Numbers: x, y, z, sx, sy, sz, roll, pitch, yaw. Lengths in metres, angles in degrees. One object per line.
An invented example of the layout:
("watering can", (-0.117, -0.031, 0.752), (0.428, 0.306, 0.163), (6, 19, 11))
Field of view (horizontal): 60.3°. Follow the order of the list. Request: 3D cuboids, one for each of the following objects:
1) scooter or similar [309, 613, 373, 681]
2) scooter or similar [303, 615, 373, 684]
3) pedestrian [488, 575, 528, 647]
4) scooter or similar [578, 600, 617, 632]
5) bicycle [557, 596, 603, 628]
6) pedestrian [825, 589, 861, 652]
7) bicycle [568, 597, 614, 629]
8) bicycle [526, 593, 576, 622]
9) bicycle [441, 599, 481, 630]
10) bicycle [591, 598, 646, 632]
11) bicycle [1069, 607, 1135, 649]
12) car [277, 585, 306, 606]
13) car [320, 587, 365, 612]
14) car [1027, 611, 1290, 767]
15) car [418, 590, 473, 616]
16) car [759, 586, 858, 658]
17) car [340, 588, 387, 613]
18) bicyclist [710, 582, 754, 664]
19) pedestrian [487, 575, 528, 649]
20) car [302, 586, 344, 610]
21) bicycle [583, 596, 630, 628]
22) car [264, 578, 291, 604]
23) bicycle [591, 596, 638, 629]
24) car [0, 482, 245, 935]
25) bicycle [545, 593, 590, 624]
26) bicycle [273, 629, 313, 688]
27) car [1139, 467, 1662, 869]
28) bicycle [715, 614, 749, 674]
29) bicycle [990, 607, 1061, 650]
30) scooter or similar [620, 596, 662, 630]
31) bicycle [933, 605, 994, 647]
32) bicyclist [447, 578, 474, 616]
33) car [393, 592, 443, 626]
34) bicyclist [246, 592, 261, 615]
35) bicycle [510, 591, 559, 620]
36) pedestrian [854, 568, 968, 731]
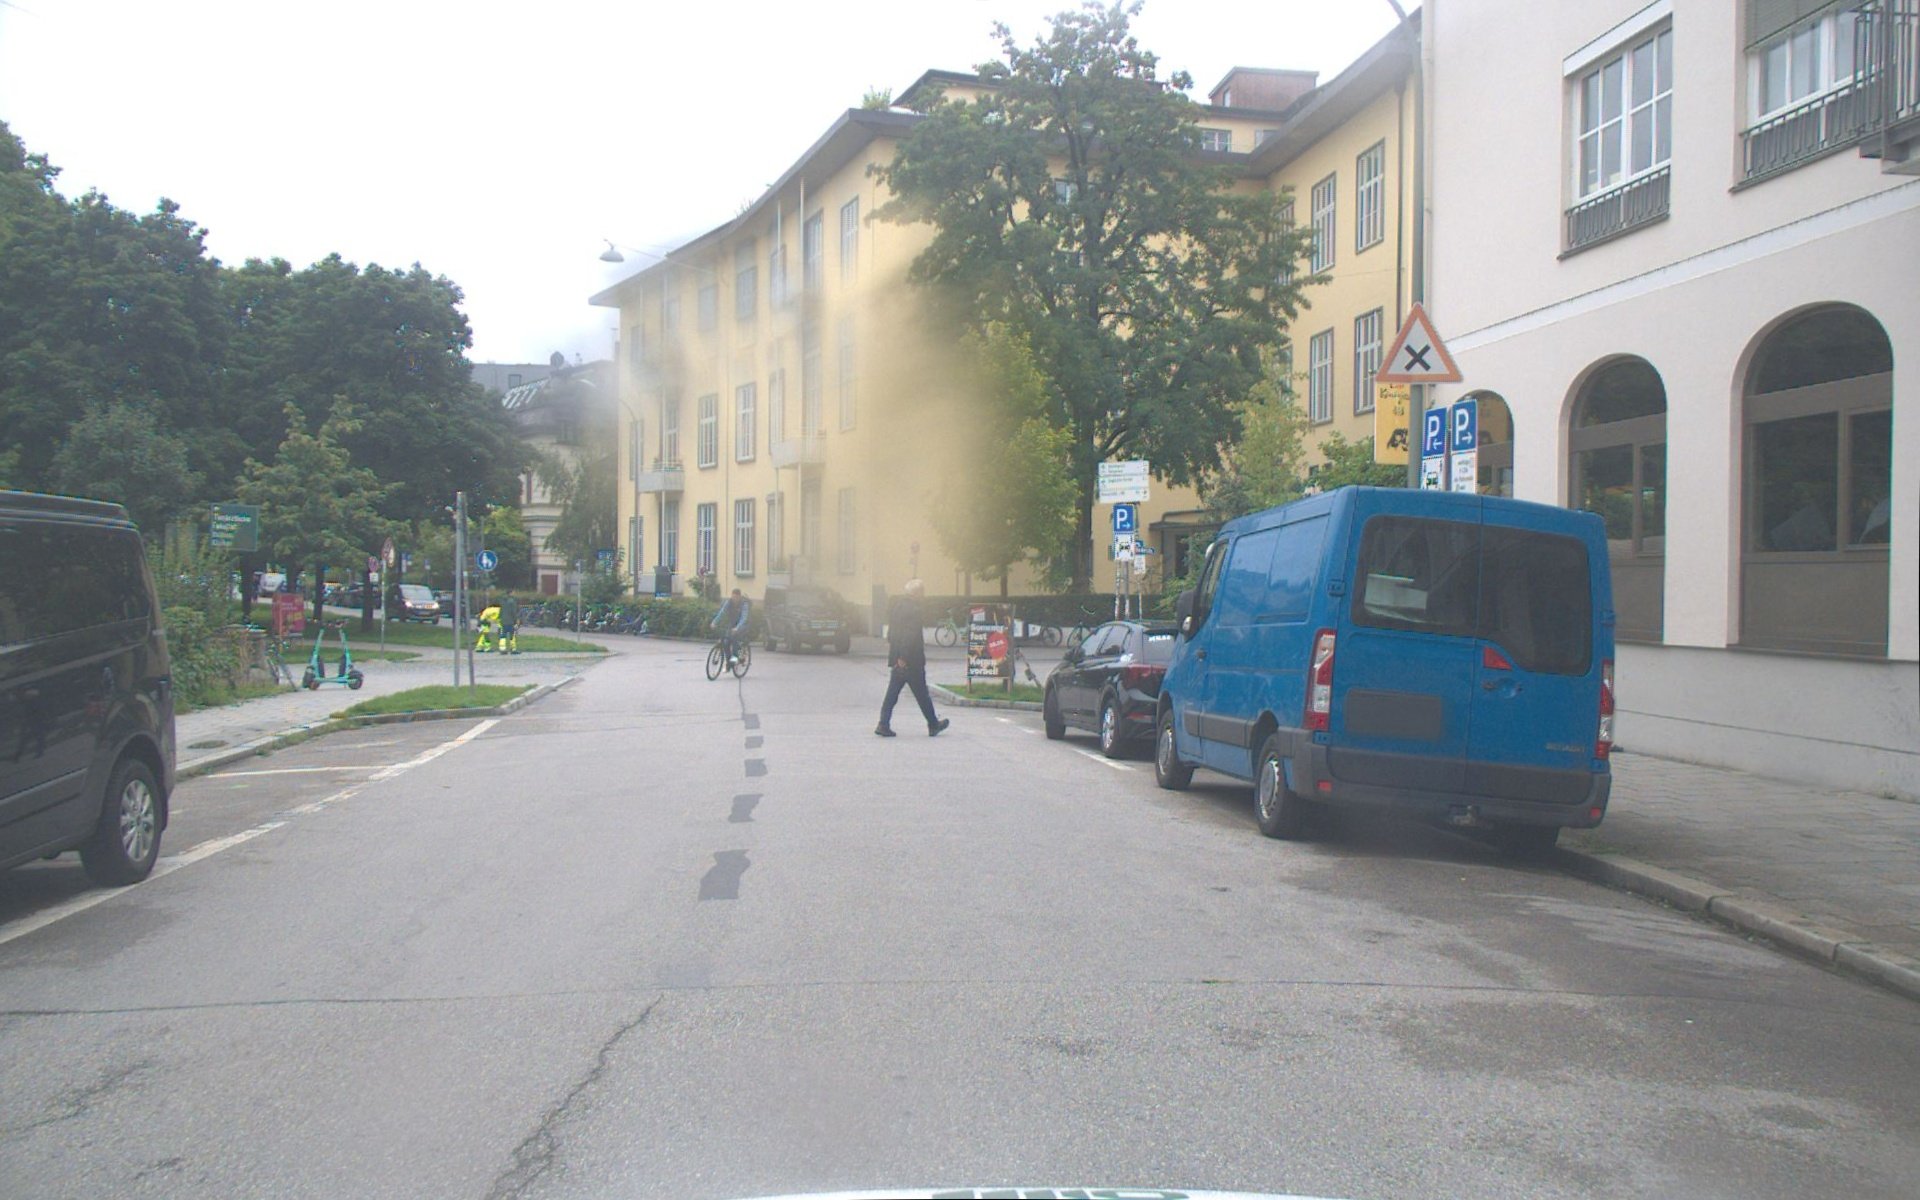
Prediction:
("scooter or similar", (-11.343, 0.852, 30.327), (0.338, 1.209, 1.117), (1, 0, 30))
("scooter or similar", (-11.115, 0.879, 29.565), (1.092, 1.209, 0.345), (1, 0, 2))
("pedestrian", (-13.065, 0.316, 47.798), (0.913, 2.049, 0.956), (0, 0, -4))
("scooter or similar", (-15.314, 0.674, 69.846), (0.717, 1.328, 1.729), (0, 0, 24))
("bicycle", (-16.297, 0.510, 70.981), (0.718, 1.328, 2.153), (0, 0, 27))
("pedestrian", (-3.498, 0.597, 49.431), (0.861, 1.855, 0.794), (1, 0, -20))
("bicycle", (-15.678, 0.548, 70.369), (0.718, 1.328, 2.153), (0, 0, 27))
("bicycle", (-18.899, 0.327, 76.397), (2.122, 1.328, 0.728), (0, 0, -26))
("bicycle", (-20.508, 0.578, 67.970), (0.739, 1.236, 2.111), (0, 0, -42))
("bicycle", (-13.753, 0.596, 66.694), (0.722, 1.328, 2.141), (1, 0, 44))
("bicycle", (4.196, 0.823, 48.873), (1.884, 1.222, 0.595), (1, 0, -4))
("car", (-52.322, -0.333, 129.392), (1.968, 1.634, 3.969), (0, 0, -25))
("car", (-41.677, -0.050, 111.624), (1.976, 1.634, 3.952), (0, 0, -34))
("car", (2.099, 0.914, 18.745), (1.647, 1.413, 4.294), (4, -1, -11))
("car", (-28.169, 0.180, 90.484), (1.975, 1.396, 3.955), (0, 0, -32))
("car", (-4.550, 0.614, 49.235), (1.737, 1.907, 4.352), (4, -1, -21))
("car", (-38.580, 0.029, 106.988), (1.976, 1.634, 3.952), (0, 0, -34))
("bicyclist", (-4.632, 0.460, 33.565), (0.847, 1.636, 0.945), (1, -1, -9))
("pedestrian", (-12.622, 0.333, 46.193), (0.913, 2.049, 0.956), (0, 0, -4))
("car", (-44.793, -0.128, 116.255), (1.976, 1.634, 3.952), (0, 0, -34))
("bicycle", (-14.856, 0.496, 69.526), (0.718, 1.328, 2.153), (0, 0, 27))
("car", (-56.700, -0.737, 137.395), (1.968, 2.197, 3.969), (0, 0, -25))
("bicycle", (-14.345, 0.514, 68.736), (0.718, 1.328, 2.153), (0, 0, 27))
("car", (-5.283, 0.533, 7.453), (2.033, 1.998, 5.345), (-4, 0, -4))
("bicycle", (-17.216, 0.380, 72.611), (0.718, 1.328, 2.153), (0, 0, 27))
("bicycle", (-11.722, 1.023, 29.051), (0.536, 0.991, 1.144), (0, 0, -28))
("car", (2.959, 0.430, 12.584), (2.039, 2.272, 5.239), (5, -1, -5))
("bicycle", (-4.618, 0.873, 33.444), (0.657, 1.179, 1.999), (1, 0, -8))
("bicycle", (1.940, 0.849, 48.925), (2.023, 1.222, 0.596), (1, 0, 15))
("scooter or similar", (-12.701, 0.494, 65.925), (0.716, 1.328, 2.157), (0, 0, 16))
("bicycle", (0.104, 0.773, 50.133), (1.891, 1.222, 0.593), (1, 0, 38))
("bicyclist", (-20.518, -0.114, 67.973), (0.739, 1.547, 0.931), (0, 0, -43))
("car", (-25.413, 0.418, 77.492), (1.889, 1.496, 3.971), (1, 0, -24))
("bicyclist", (-46.907, 0.214, 109.780), (0.788, 1.496, 0.883), (1, 0, -32))
("bicycle", (-20.105, 0.264, 78.139), (2.122, 1.328, 0.728), (0, 0, -26))
("pedestrian", (-0.570, 0.575, 19.252), (0.919, 1.832, 0.950), (-3, -2, 45))
